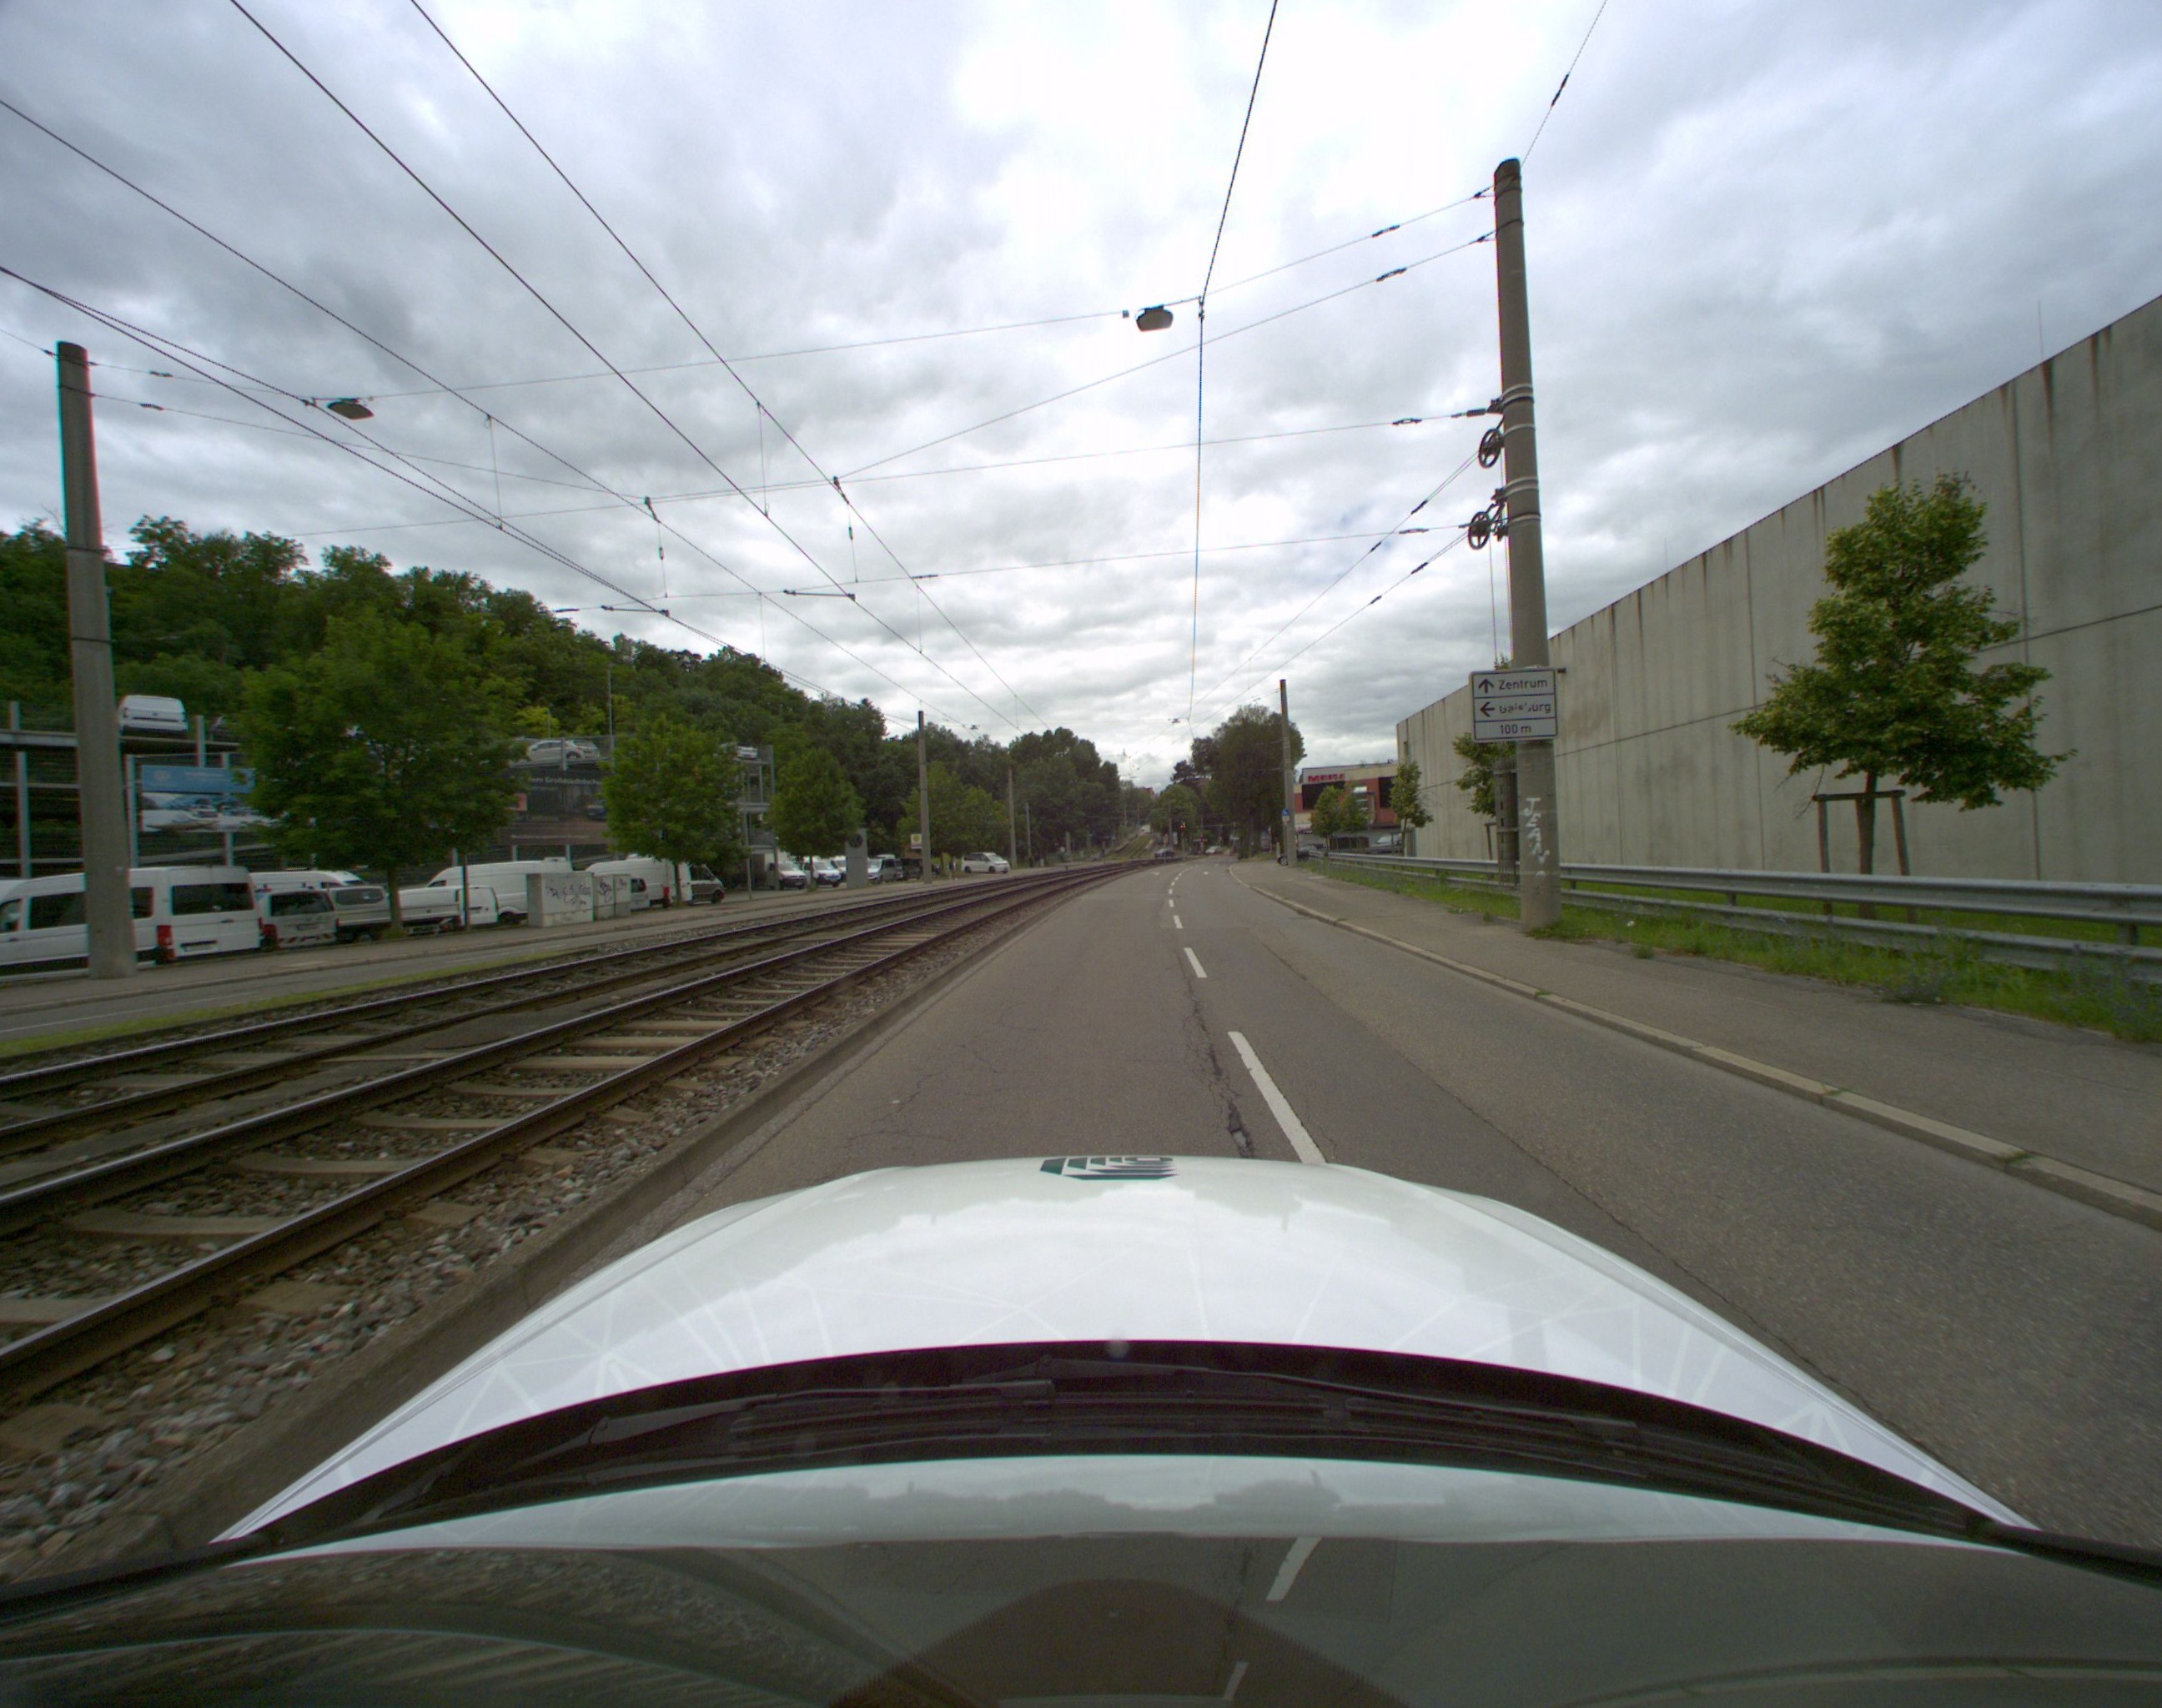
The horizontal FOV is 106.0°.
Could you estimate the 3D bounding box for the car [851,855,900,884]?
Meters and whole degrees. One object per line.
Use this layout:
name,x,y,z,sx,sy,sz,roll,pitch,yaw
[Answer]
car,-15.733,1.129,62.666,1.983,2.013,4.928,-3,0,6

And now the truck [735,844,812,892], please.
truck,-21.479,0.980,56.720,5.861,3.085,2.133,-3,0,37

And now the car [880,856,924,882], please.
car,-15.015,1.239,68.564,1.983,2.013,5.140,-3,0,7

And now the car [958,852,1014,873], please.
car,-8.985,0.781,76.921,5.007,1.888,2.180,0,0,34

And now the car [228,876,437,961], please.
car,-21.925,1.855,23.968,4.346,2.173,2.006,-3,0,4

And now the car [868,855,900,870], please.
car,-30.209,1.283,124.931,1.974,2.013,4.431,-2,0,39

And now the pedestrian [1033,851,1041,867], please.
pedestrian,-5.006,0.578,91.923,0.672,1.813,0.858,-1,0,11

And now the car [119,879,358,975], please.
car,-22.240,1.888,21.624,4.346,2.173,2.006,-3,0,4

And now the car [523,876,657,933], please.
car,-20.515,2.077,34.154,4.346,2.105,2.006,-3,0,4

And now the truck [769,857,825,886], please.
truck,-27.578,1.742,79.131,5.006,2.588,2.484,-3,0,33

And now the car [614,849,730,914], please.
car,-20.967,1.314,42.127,2.094,3.019,5.954,-3,0,10

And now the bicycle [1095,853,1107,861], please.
bicycle,3.828,0.614,156.958,0.829,1.343,2.967,-3,0,-31

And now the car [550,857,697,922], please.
car,-20.692,1.581,36.949,5.442,2.602,2.252,-3,0,8

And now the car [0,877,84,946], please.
car,-34.493,1.851,25.461,4.813,2.013,2.006,-3,0,10

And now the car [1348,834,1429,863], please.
car,20.054,-0.381,53.175,4.513,1.548,2.150,-3,-2,-14

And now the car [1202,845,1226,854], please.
car,24.033,-0.842,147.005,4.278,1.532,1.874,-2,-3,-39

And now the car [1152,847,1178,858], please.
car,13.897,-0.252,135.068,4.277,1.532,1.672,-1,-4,-39

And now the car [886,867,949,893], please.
car,-14.711,2.313,73.124,5.086,2.013,2.146,-3,0,-29

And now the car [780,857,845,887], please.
car,-19.538,1.317,59.098,4.669,2.013,2.013,-3,0,35

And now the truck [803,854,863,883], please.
truck,-24.699,1.425,80.956,5.703,2.588,2.484,-3,0,33

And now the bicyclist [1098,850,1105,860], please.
bicyclist,3.978,0.114,156.659,0.826,1.849,1.041,-3,0,-31

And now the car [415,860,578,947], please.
car,-20.825,1.727,29.127,4.346,2.819,2.006,-3,0,4

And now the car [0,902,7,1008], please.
car,-22.951,2.031,14.811,4.346,2.010,2.006,-3,0,4

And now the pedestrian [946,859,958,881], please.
pedestrian,-9.684,1.212,61.129,0.715,1.655,1.043,0,0,1

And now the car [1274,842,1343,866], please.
car,15.587,-0.014,55.911,4.178,1.443,1.775,-3,0,37

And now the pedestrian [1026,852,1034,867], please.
pedestrian,-5.733,0.622,92.026,0.624,1.713,0.858,-1,0,11

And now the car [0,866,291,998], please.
car,-21.819,1.749,18.918,4.943,2.698,2.118,-3,0,4

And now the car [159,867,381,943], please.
car,-32.419,1.963,32.829,5.957,2.602,1.990,-3,0,-22

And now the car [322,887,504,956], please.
car,-21.788,2.178,26.686,4.346,1.910,2.006,-3,0,4
